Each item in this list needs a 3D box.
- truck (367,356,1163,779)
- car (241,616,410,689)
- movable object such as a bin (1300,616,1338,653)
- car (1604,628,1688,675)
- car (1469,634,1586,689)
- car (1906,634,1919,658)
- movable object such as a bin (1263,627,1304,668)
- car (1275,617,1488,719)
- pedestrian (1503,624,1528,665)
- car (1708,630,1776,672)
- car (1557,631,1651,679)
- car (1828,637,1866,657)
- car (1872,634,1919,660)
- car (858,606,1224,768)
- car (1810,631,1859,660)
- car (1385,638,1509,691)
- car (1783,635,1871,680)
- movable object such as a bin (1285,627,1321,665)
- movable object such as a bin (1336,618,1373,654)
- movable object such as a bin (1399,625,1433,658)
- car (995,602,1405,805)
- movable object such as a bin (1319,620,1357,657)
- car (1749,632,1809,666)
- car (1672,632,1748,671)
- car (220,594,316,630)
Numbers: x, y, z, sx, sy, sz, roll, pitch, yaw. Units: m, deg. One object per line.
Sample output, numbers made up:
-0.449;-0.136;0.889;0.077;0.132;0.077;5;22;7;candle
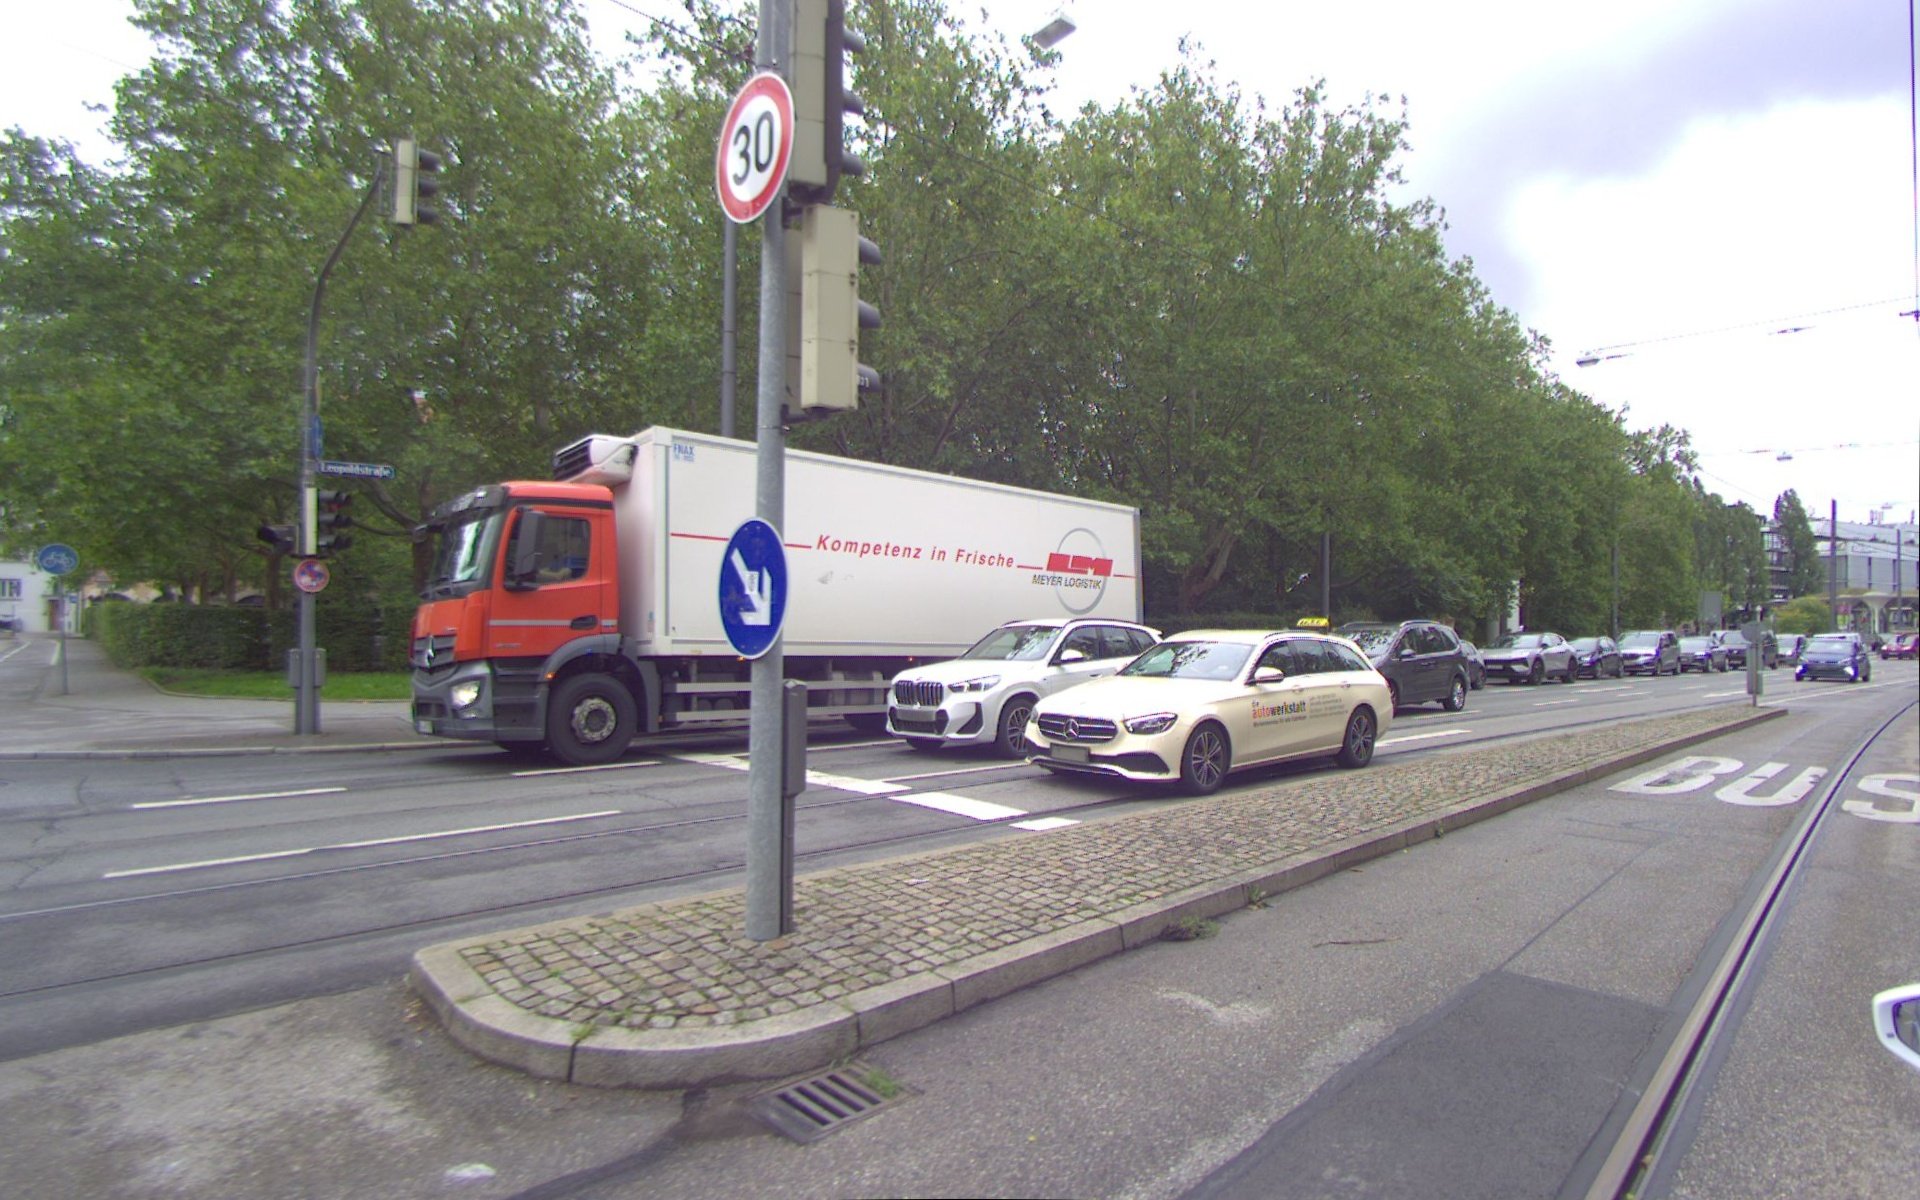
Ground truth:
-1.633;-0.099;14.538;11.632;4.032;2.714;2;-3;-43;truck
-17.235;1.361;27.428;1.744;1.787;3.519;0;0;25;car
13.873;1.323;38.826;1.122;1.371;0.924;2;1;-45;movable object such as a bin
28.178;2.084;41.190;4.437;1.803;1.784;2;-2;-41;car
18.579;1.957;32.805;4.960;1.664;1.784;2;-2;-41;car
73.306;3.487;76.295;4.486;1.812;1.783;2;-4;-42;car
11.813;1.710;36.665;1.076;1.371;0.924;2;4;-45;movable object such as a bin
8.127;1.211;19.125;4.853;1.705;1.806;2;-2;-41;car
25.163;2.020;45.530;0.809;1.813;0.660;2;-1;-32;pedestrian
39.614;2.566;50.831;4.999;2.017;1.784;2;-2;-41;car
24.045;2.026;37.446;4.320;1.689;1.784;2;-2;-41;car
70.113;3.732;79.373;4.488;1.550;1.782;2;-4;-43;car
66.718;3.312;71.047;4.461;1.812;1.793;1;-3;-27;car
1.213;0.993;12.903;4.855;1.705;1.897;2;-2;-43;car
57.747;2.999;66.293;4.595;1.885;1.784;2;-4;-41;car
14.195;1.817;29.190;4.067;1.399;1.806;2;-2;-41;car
31.439;2.066;36.381;4.320;1.542;1.784;3;-3;-41;car
12.885;1.721;37.754;1.007;1.371;0.924;2;-1;-45;movable object such as a bin
15.921;1.451;40.521;1.076;1.371;0.924;2;3;-45;movable object such as a bin
19.947;1.808;43.929;1.151;1.371;0.924;2;1;-45;movable object such as a bin
2.726;0.926;10.549;4.856;1.660;1.805;2;-2;-43;car
14.945;1.519;39.689;1.270;1.371;0.924;2;0;-45;movable object such as a bin
45.439;2.725;55.718;4.483;1.812;1.784;2;-4;-41;car
33.576;2.266;44.923;4.552;1.656;1.784;2;-2;-41;car
-54.535;1.021;79.260;6.031;2.623;2.086;3;-3;-40;car
